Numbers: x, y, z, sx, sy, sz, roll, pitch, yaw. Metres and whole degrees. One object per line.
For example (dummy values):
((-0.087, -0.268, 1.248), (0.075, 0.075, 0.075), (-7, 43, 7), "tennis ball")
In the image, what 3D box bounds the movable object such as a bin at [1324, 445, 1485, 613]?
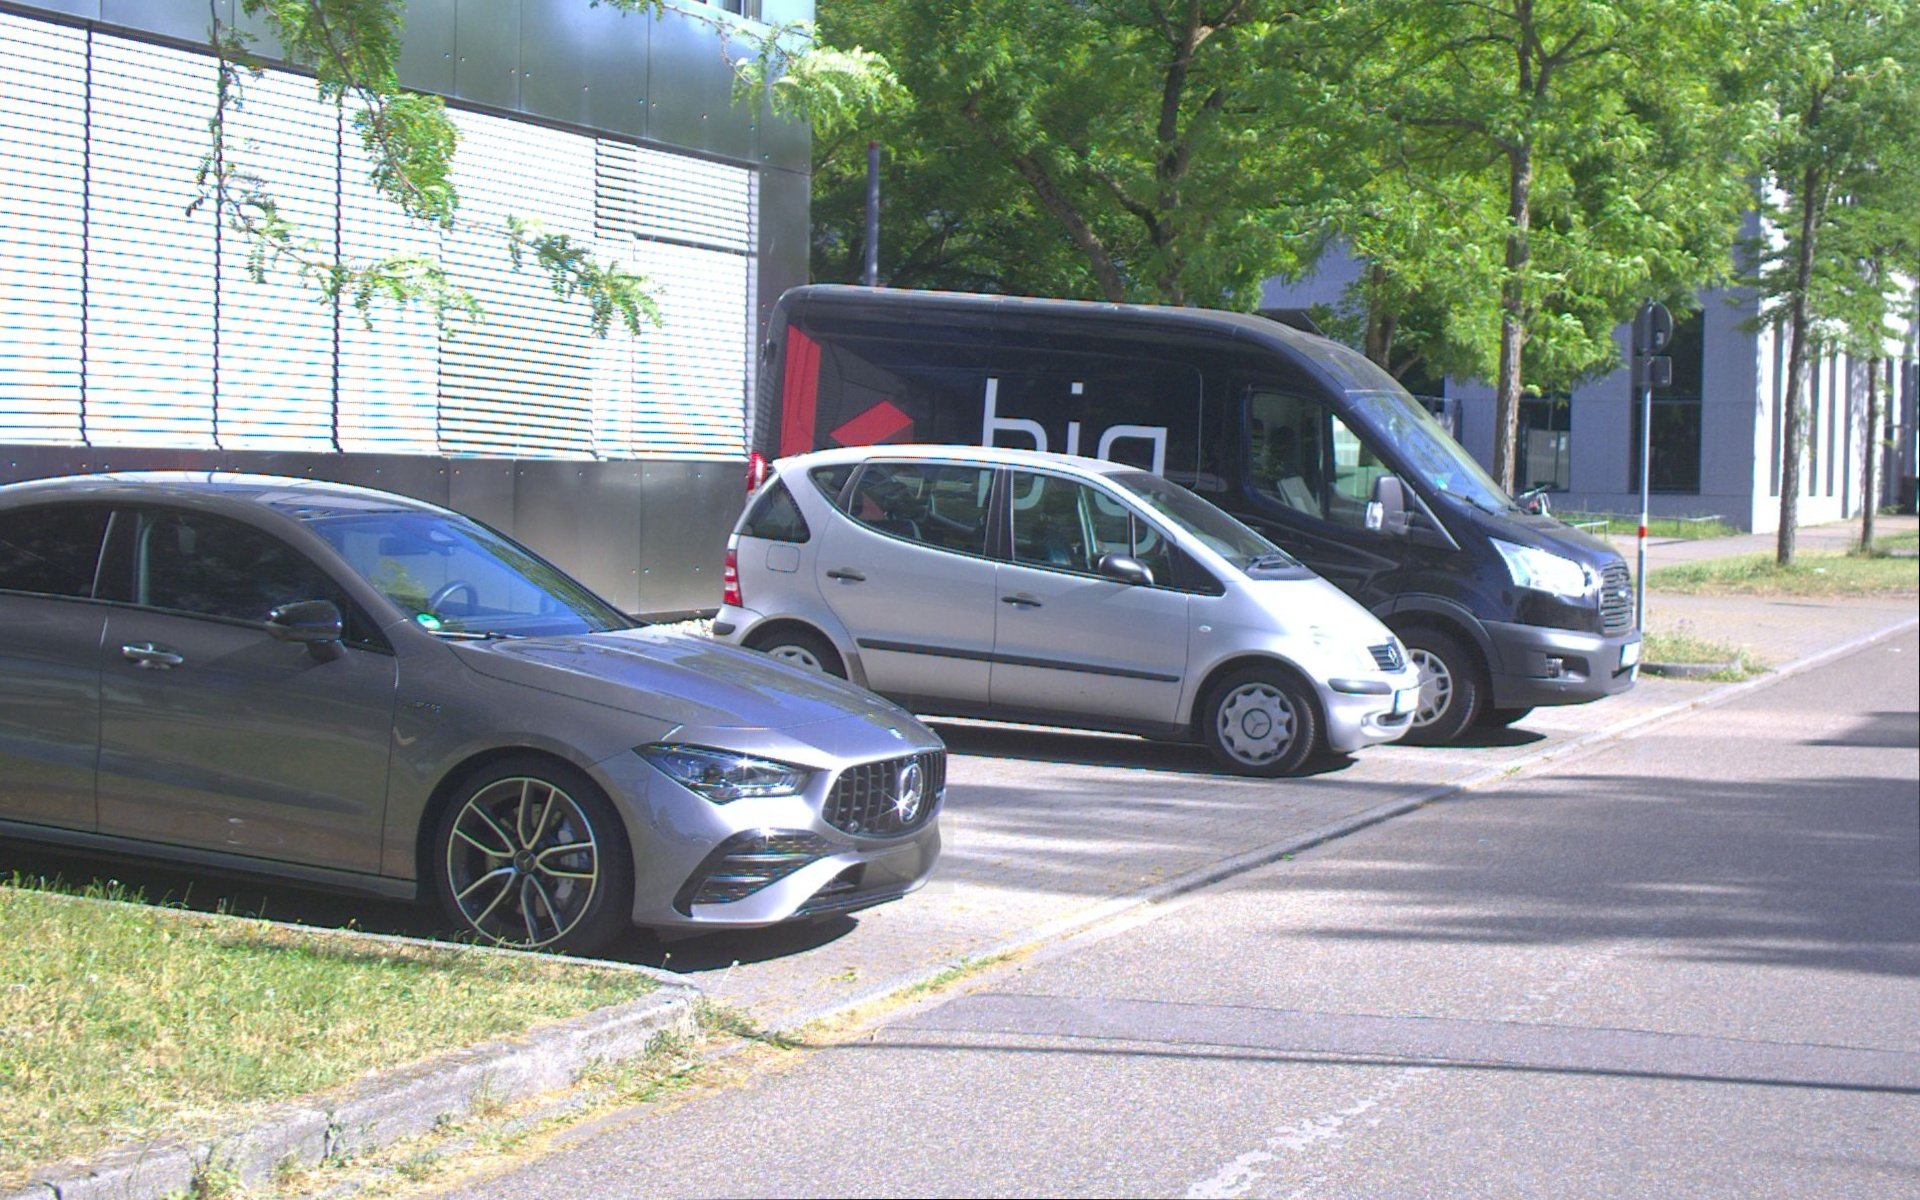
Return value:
((3.888, -0.642, 30.199), (1.293, 1.409, 1.227), (2, 3, 4), "movable object such as a bin")

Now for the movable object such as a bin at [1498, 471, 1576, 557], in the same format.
((8.313, -1.250, 49.478), (0.663, 1.177, 1.933), (2, 3, 22), "movable object such as a bin")

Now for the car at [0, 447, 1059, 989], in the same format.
((-2.153, 0.269, 11.785), (4.540, 1.345, 1.890), (5, 3, 21), "car")

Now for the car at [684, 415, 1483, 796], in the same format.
((0.692, -0.031, 18.667), (3.835, 1.639, 1.890), (5, 3, 20), "car")

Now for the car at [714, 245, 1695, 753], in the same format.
((1.502, -0.688, 21.160), (5.461, 2.613, 2.229), (5, 3, 21), "car")
